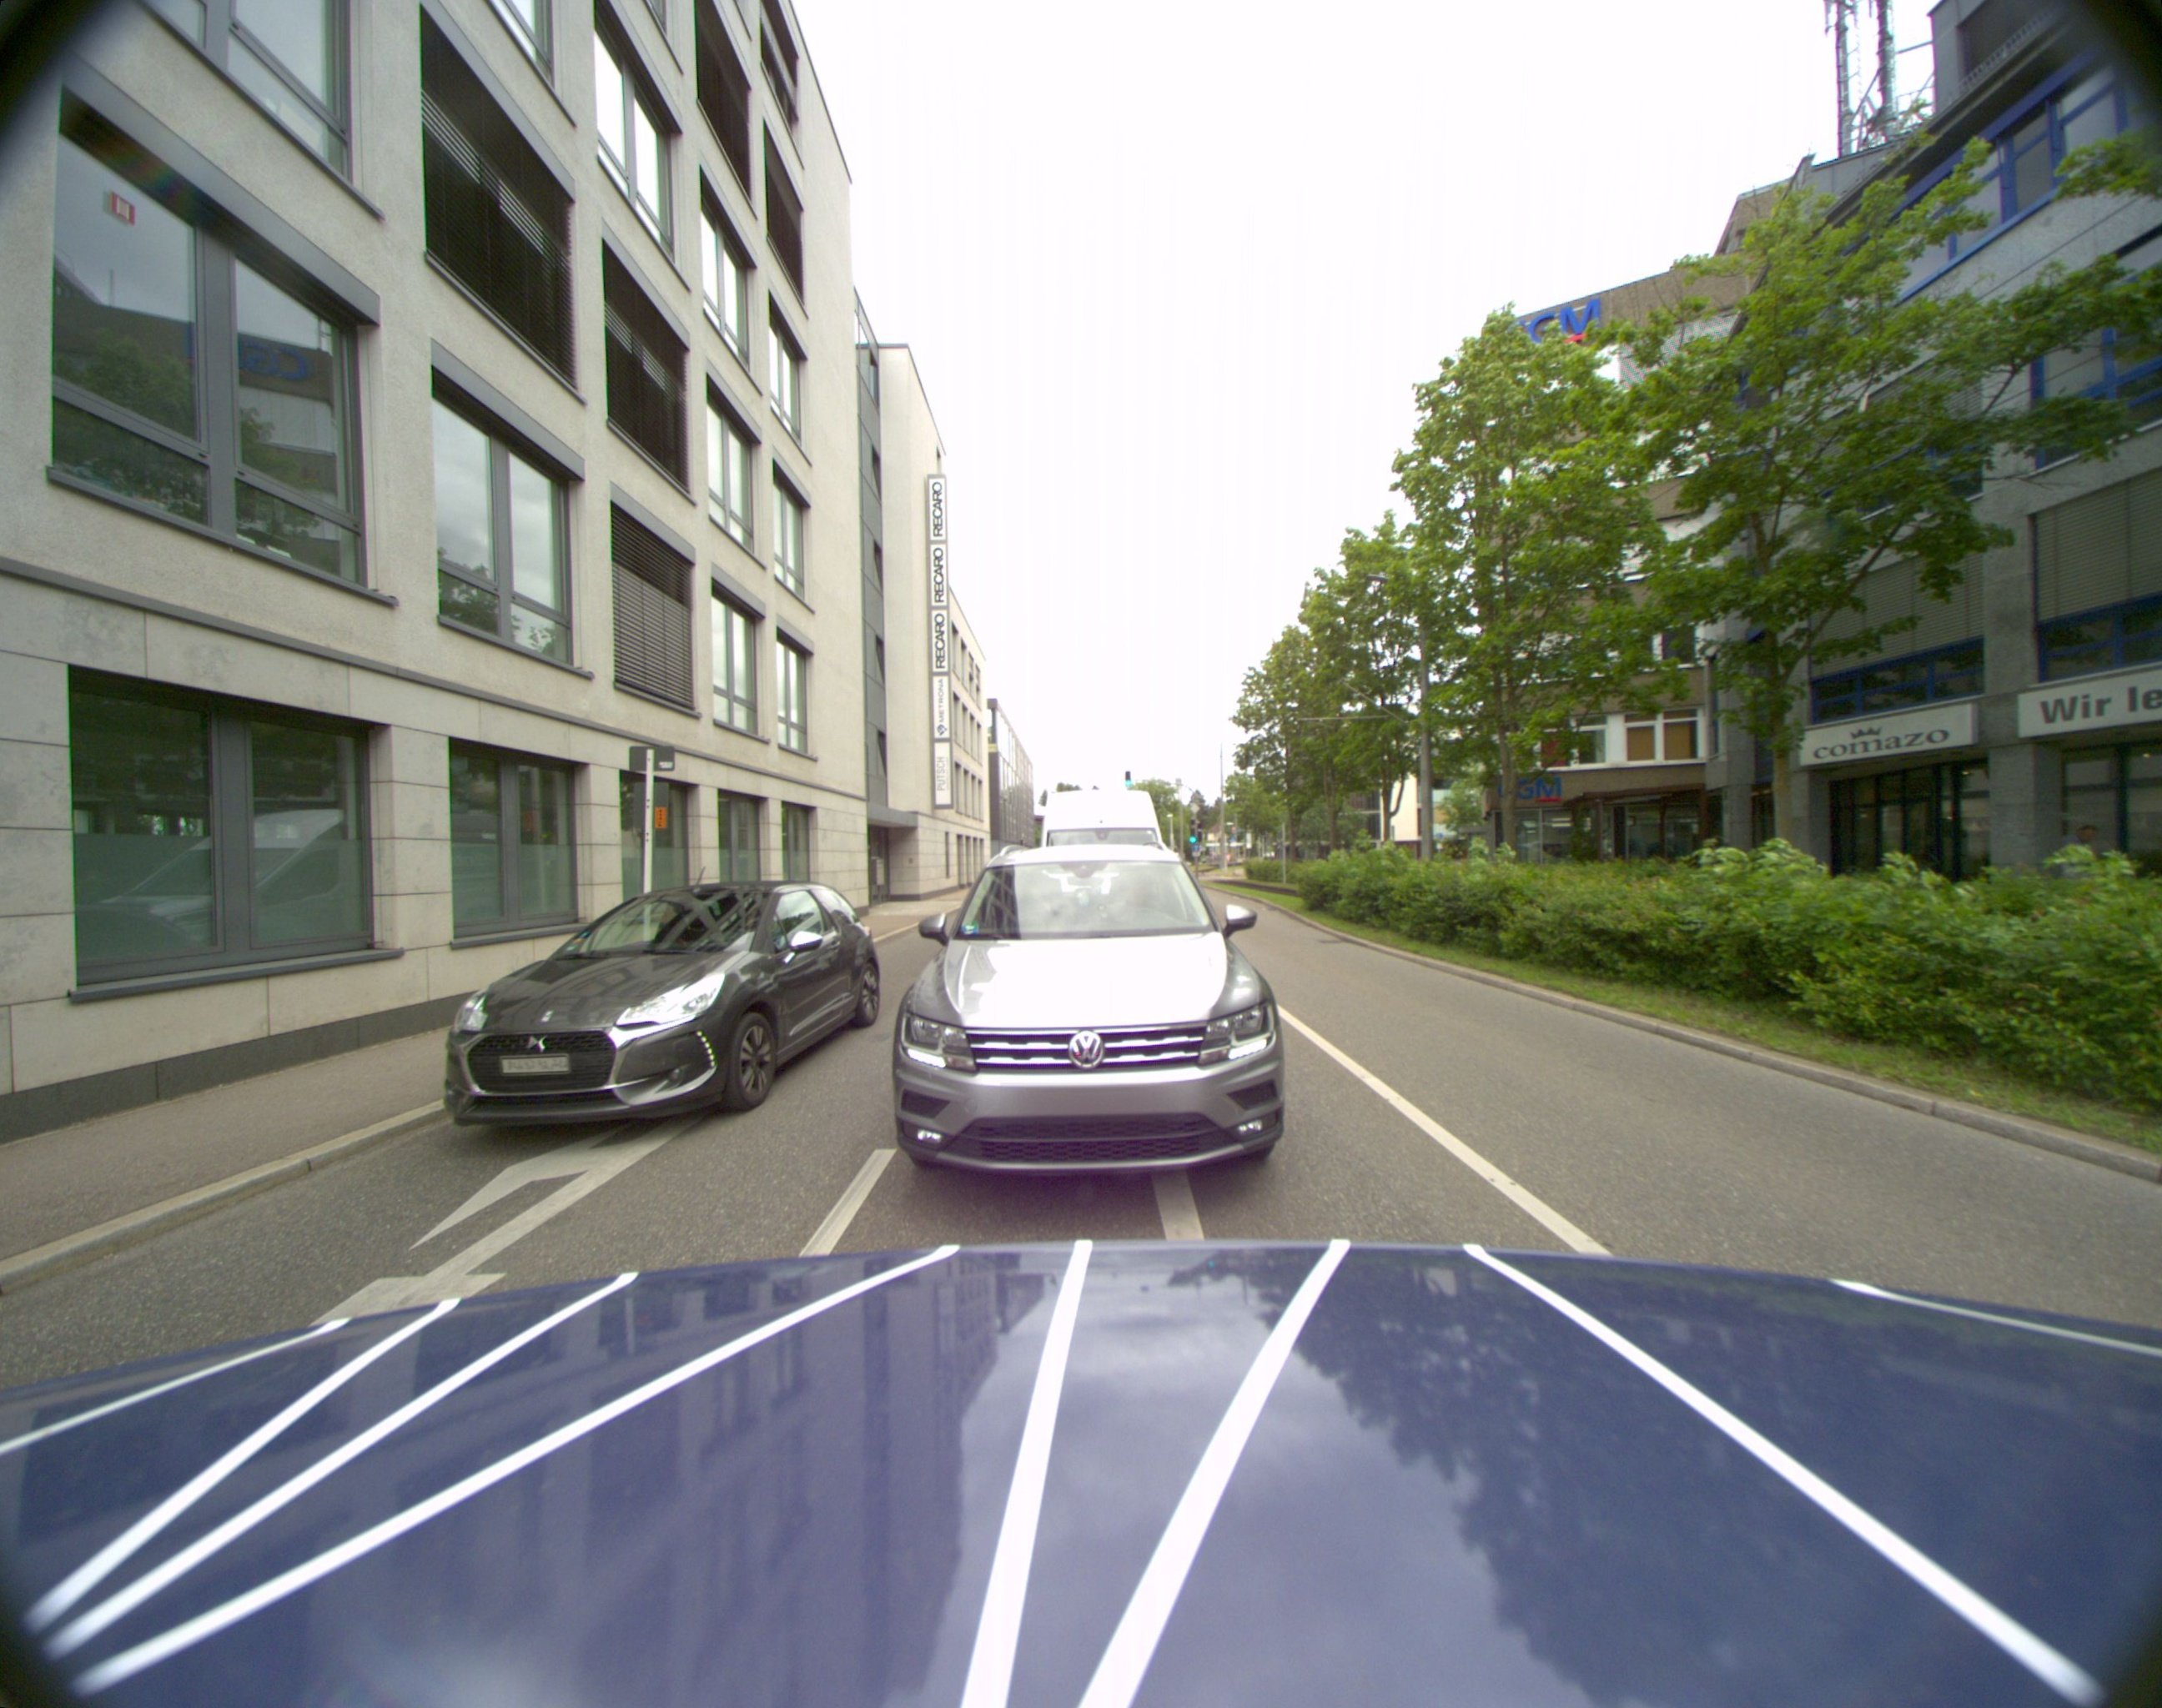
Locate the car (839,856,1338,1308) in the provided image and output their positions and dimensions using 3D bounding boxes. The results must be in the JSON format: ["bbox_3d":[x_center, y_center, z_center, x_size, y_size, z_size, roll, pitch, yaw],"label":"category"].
[{"bbox_3d":[0.057,0.888,5.084,1.833,1.636,4.326,-3,0,1],"label":"car"}]

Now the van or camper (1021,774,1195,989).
[{"bbox_3d":[0.279,0.353,12.962,2.110,2.674,6.298,-3,0,-1],"label":"van or camper"}]

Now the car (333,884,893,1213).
[{"bbox_3d":[-2.910,1.086,5.934,1.705,1.452,4.062,-3,0,2],"label":"car"}]

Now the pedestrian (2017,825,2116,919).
[{"bbox_3d":[16.220,0.287,12.519,0.699,1.474,0.679,-3,0,1],"label":"pedestrian"}]
